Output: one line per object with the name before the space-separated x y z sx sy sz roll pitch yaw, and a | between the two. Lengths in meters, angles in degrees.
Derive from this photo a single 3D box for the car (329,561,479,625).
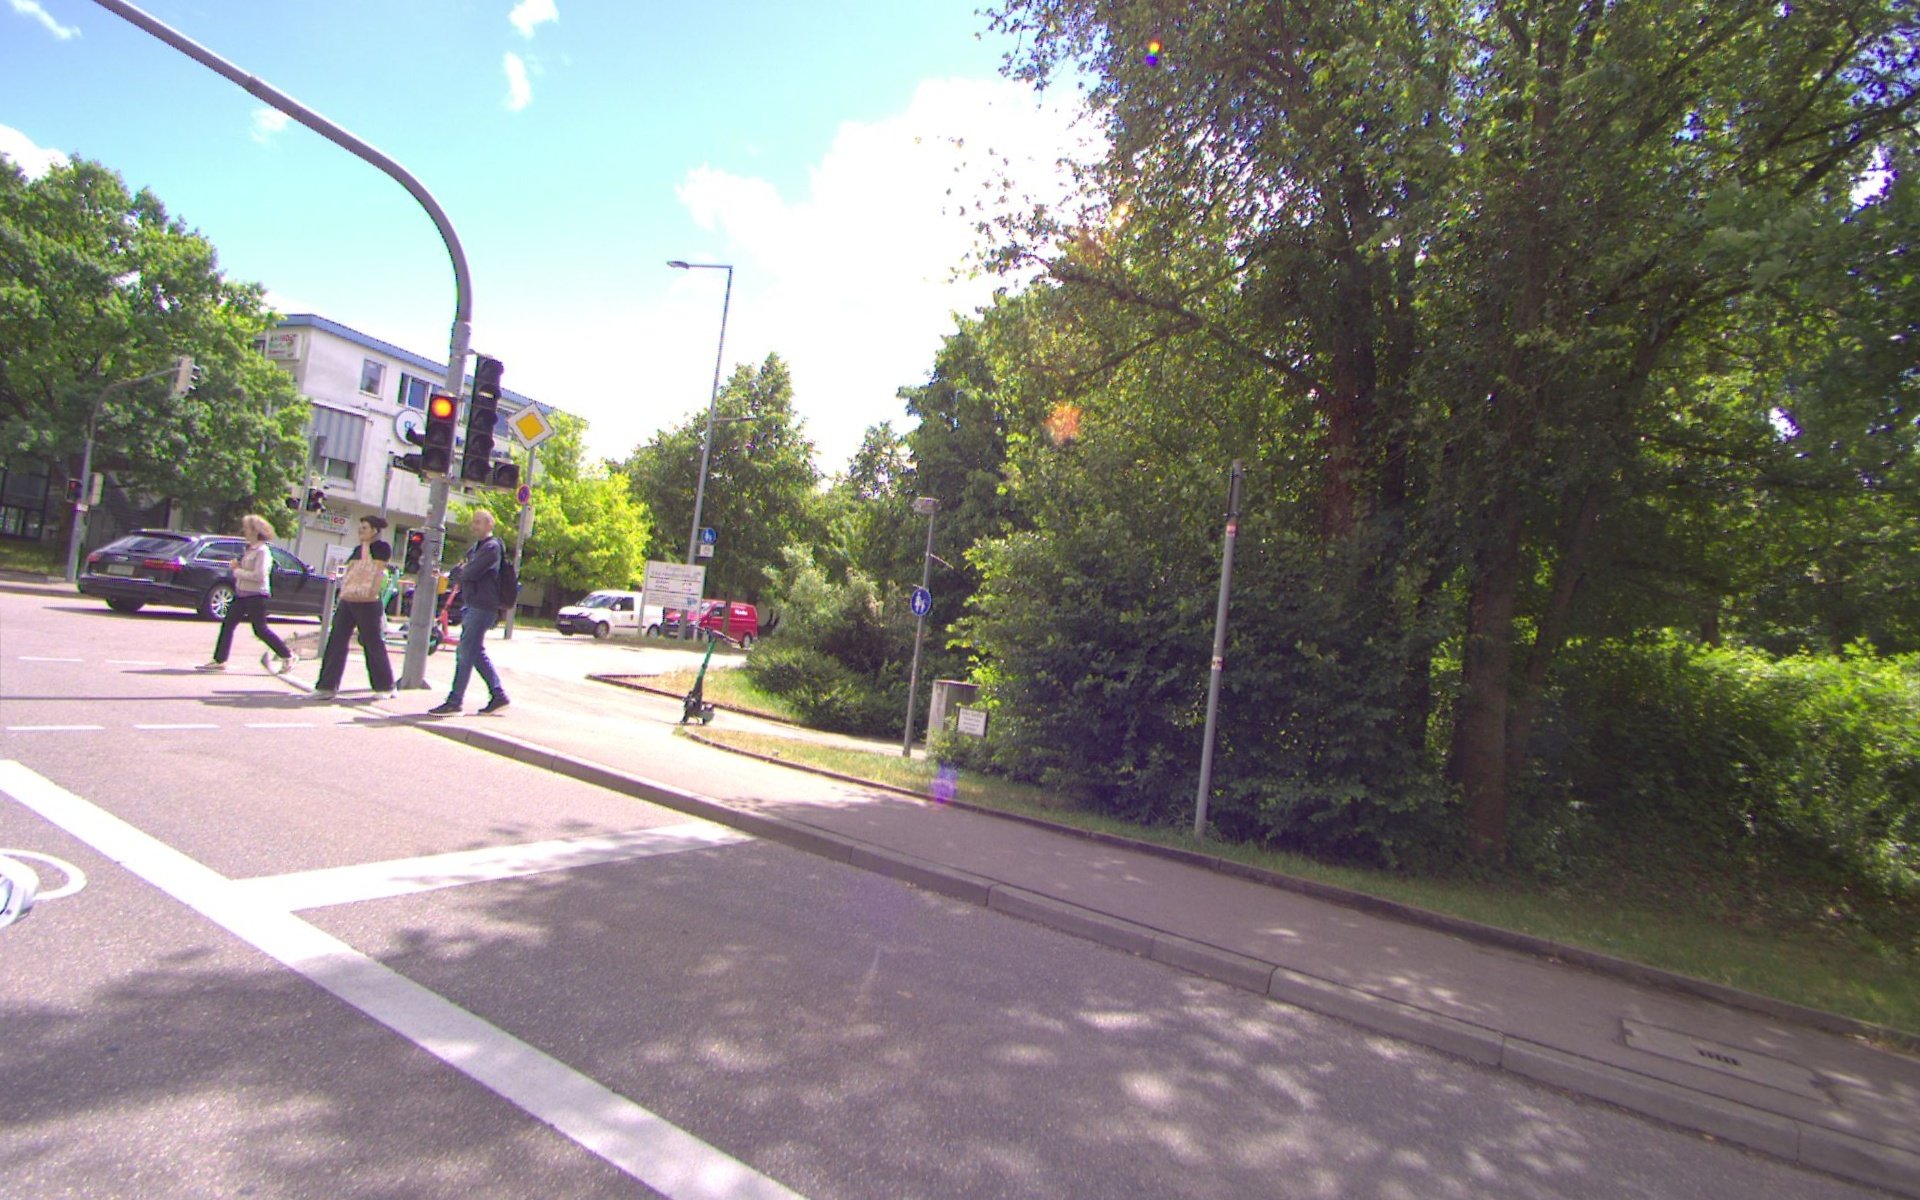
car | -18.503 -0.184 33.682 1.963 1.573 3.923 7 -2 21

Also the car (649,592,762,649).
car | -10.617 0.905 42.379 1.964 1.885 4.822 5 -3 23

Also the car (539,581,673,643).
car | -12.969 0.504 37.197 1.963 1.737 4.576 7 -2 23

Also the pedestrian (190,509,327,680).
pedestrian | -7.525 -0.058 10.789 0.950 1.694 0.860 7 -1 -43

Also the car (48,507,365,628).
car | -13.065 -0.450 17.917 1.963 1.571 4.526 7 -2 2

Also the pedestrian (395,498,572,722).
pedestrian | -4.548 0.115 9.640 0.881 1.964 0.968 7 -1 28

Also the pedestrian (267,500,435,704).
pedestrian | -5.808 0.035 9.635 0.758 1.787 0.936 7 0 20

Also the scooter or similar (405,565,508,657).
scooter or similar | -7.942 0.190 15.921 0.547 1.254 1.231 8 -3 23

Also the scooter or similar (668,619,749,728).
scooter or similar | -3.354 1.003 13.535 0.706 1.287 1.243 10 -7 -7

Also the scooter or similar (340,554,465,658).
scooter or similar | -7.891 0.099 14.289 0.455 1.292 1.344 8 -1 38

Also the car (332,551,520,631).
car | -15.816 -0.205 30.095 1.964 1.737 4.574 7 -2 25

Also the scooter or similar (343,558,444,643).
scooter or similar | -8.951 0.027 15.953 0.533 1.168 1.362 9 -3 7
